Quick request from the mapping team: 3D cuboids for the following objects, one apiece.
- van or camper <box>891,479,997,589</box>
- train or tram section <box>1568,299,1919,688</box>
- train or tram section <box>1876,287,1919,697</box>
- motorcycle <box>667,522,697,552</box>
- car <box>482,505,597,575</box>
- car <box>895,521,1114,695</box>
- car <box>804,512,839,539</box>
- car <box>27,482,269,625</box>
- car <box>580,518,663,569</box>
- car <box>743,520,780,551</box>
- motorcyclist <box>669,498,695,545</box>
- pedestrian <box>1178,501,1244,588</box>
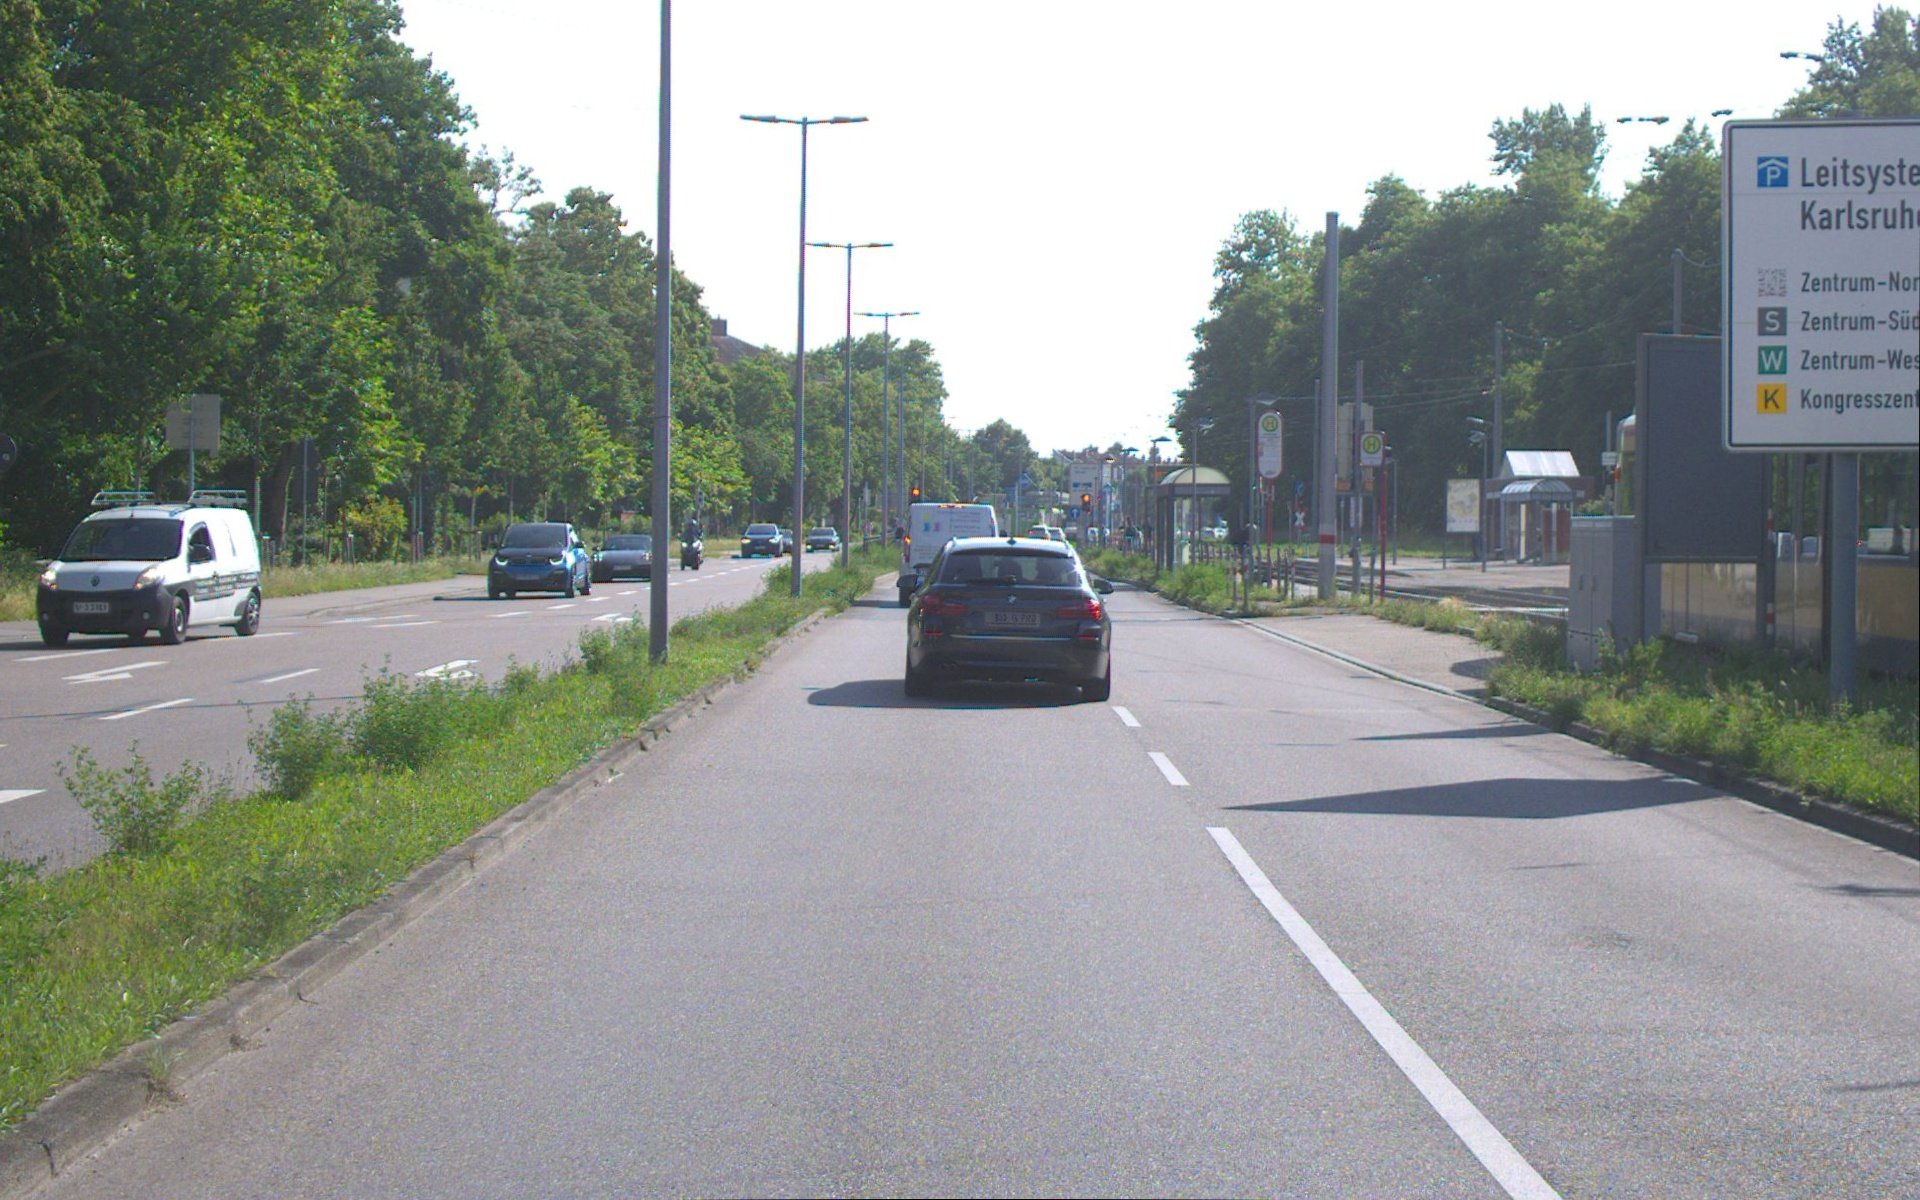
[{"bbox_3d":[-0.304,-1.319,67.939,1.993,2.089,4.599,1,1,0],"label":"van or camper"},{"bbox_3d":[9.546,-1.046,38.255,2.685,3.469,14.970,1,1,-1],"label":"train or tram section"},{"bbox_3d":[9.714,-0.833,25.187,2.750,3.541,11.257,1,1,-1],"label":"train or tram section"},{"bbox_3d":[-9.180,-2.074,113.568,0.777,0.945,2.401,1,1,0],"label":"motorcycle"},{"bbox_3d":[-8.842,-1.284,72.593,1.789,1.410,4.386,1,2,1],"label":"car"},{"bbox_3d":[0.443,0.022,32.223,1.903,1.500,4.065,1,1,1],"label":"car"},{"bbox_3d":[-8.088,-4.347,201.016,1.849,1.546,4.000,1,1,0],"label":"car"},{"bbox_3d":[-10.498,-0.635,44.801,1.789,1.766,4.569,0,2,4],"label":"car"},{"bbox_3d":[-9.248,-1.576,94.321,1.788,1.323,4.737,1,1,0],"label":"car"},{"bbox_3d":[-9.516,-3.100,164.911,1.533,1.481,4.000,1,1,0],"label":"car"},{"bbox_3d":[-9.177,-2.604,113.541,0.763,1.546,0.799,1,1,0],"label":"motorcyclist"},{"bbox_3d":[4.797,-1.071,65.689,1.000,1.628,0.720,2,2,34],"label":"pedestrian"}]
